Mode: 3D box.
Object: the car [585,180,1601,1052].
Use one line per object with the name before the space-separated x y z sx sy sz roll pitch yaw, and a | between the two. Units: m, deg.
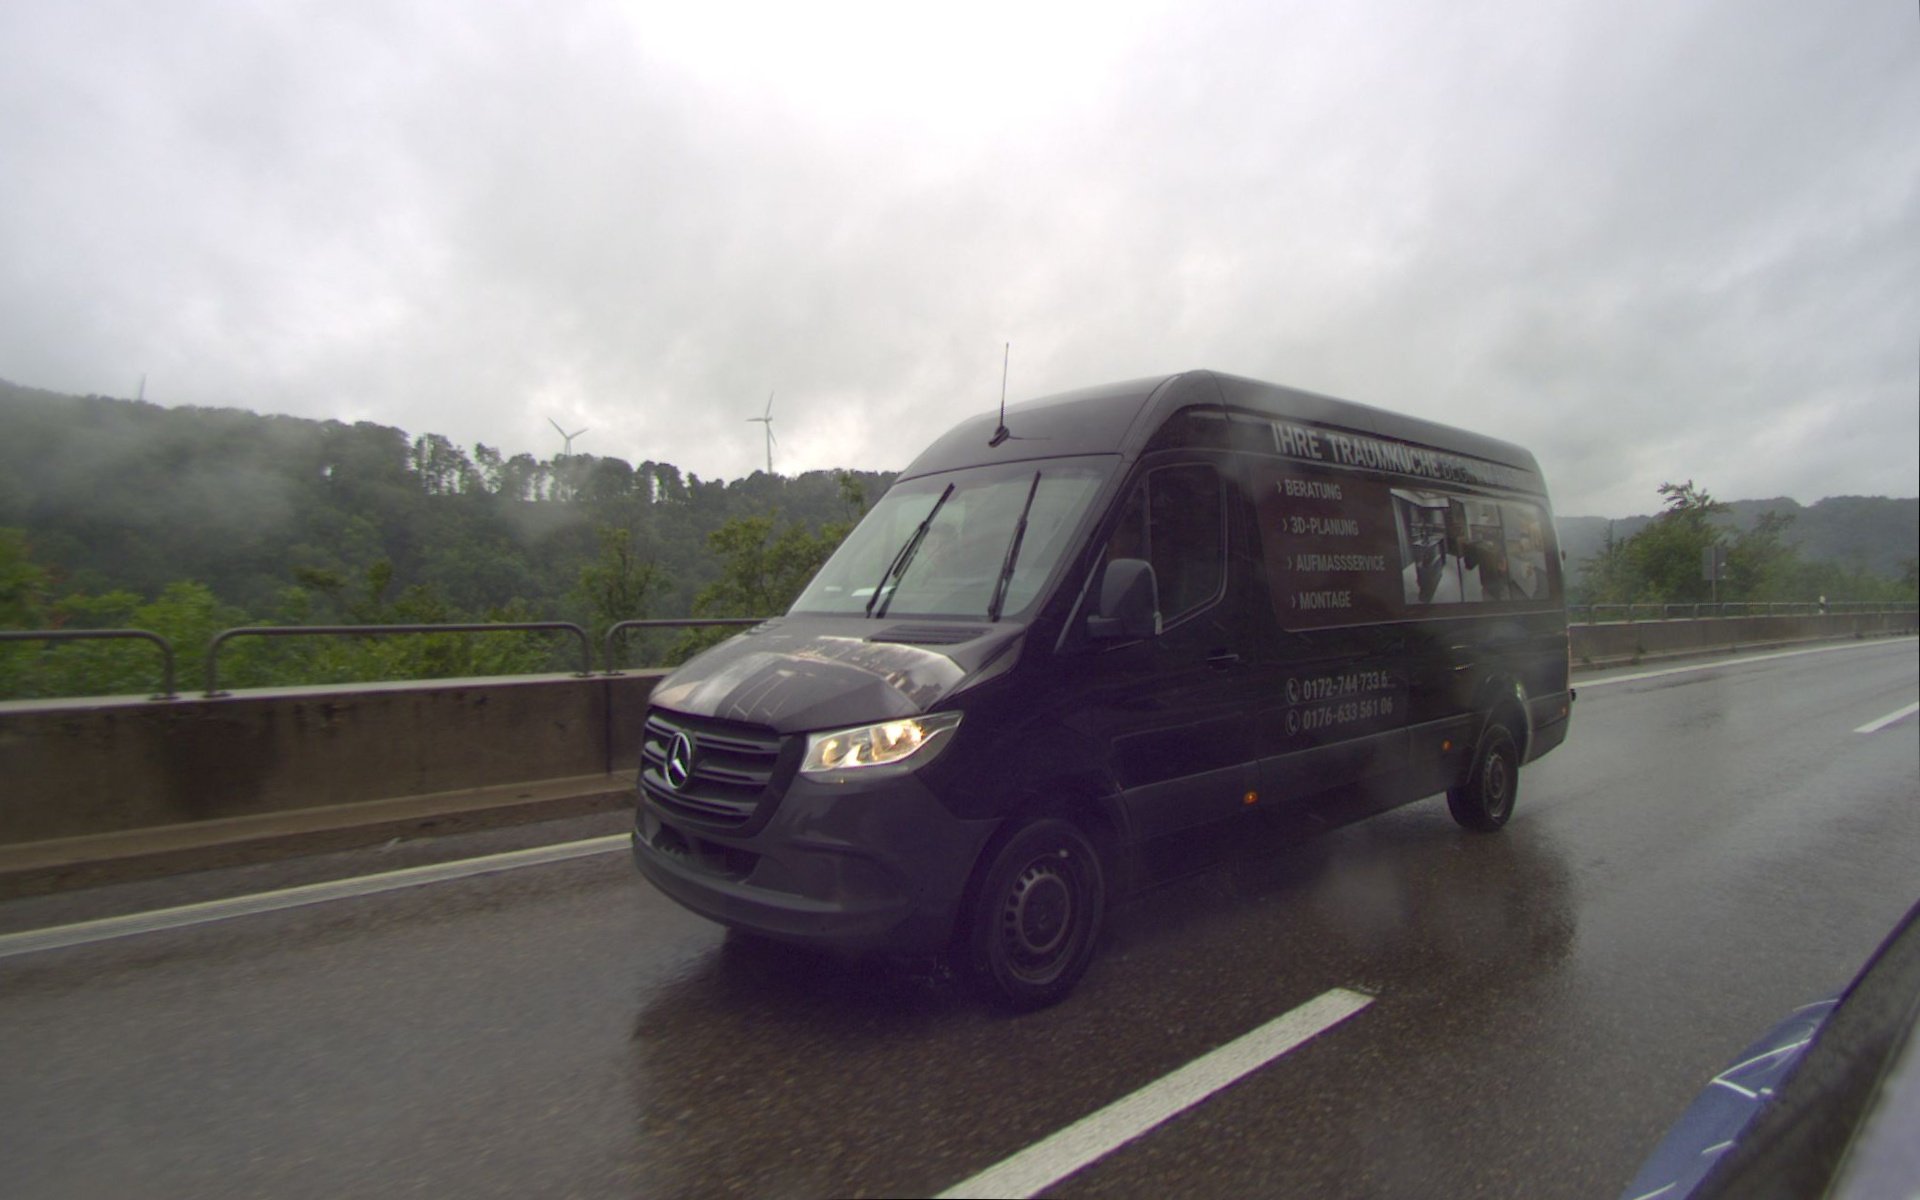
car | 1.487 0.043 5.876 6.588 2.525 1.997 0 1 -41
